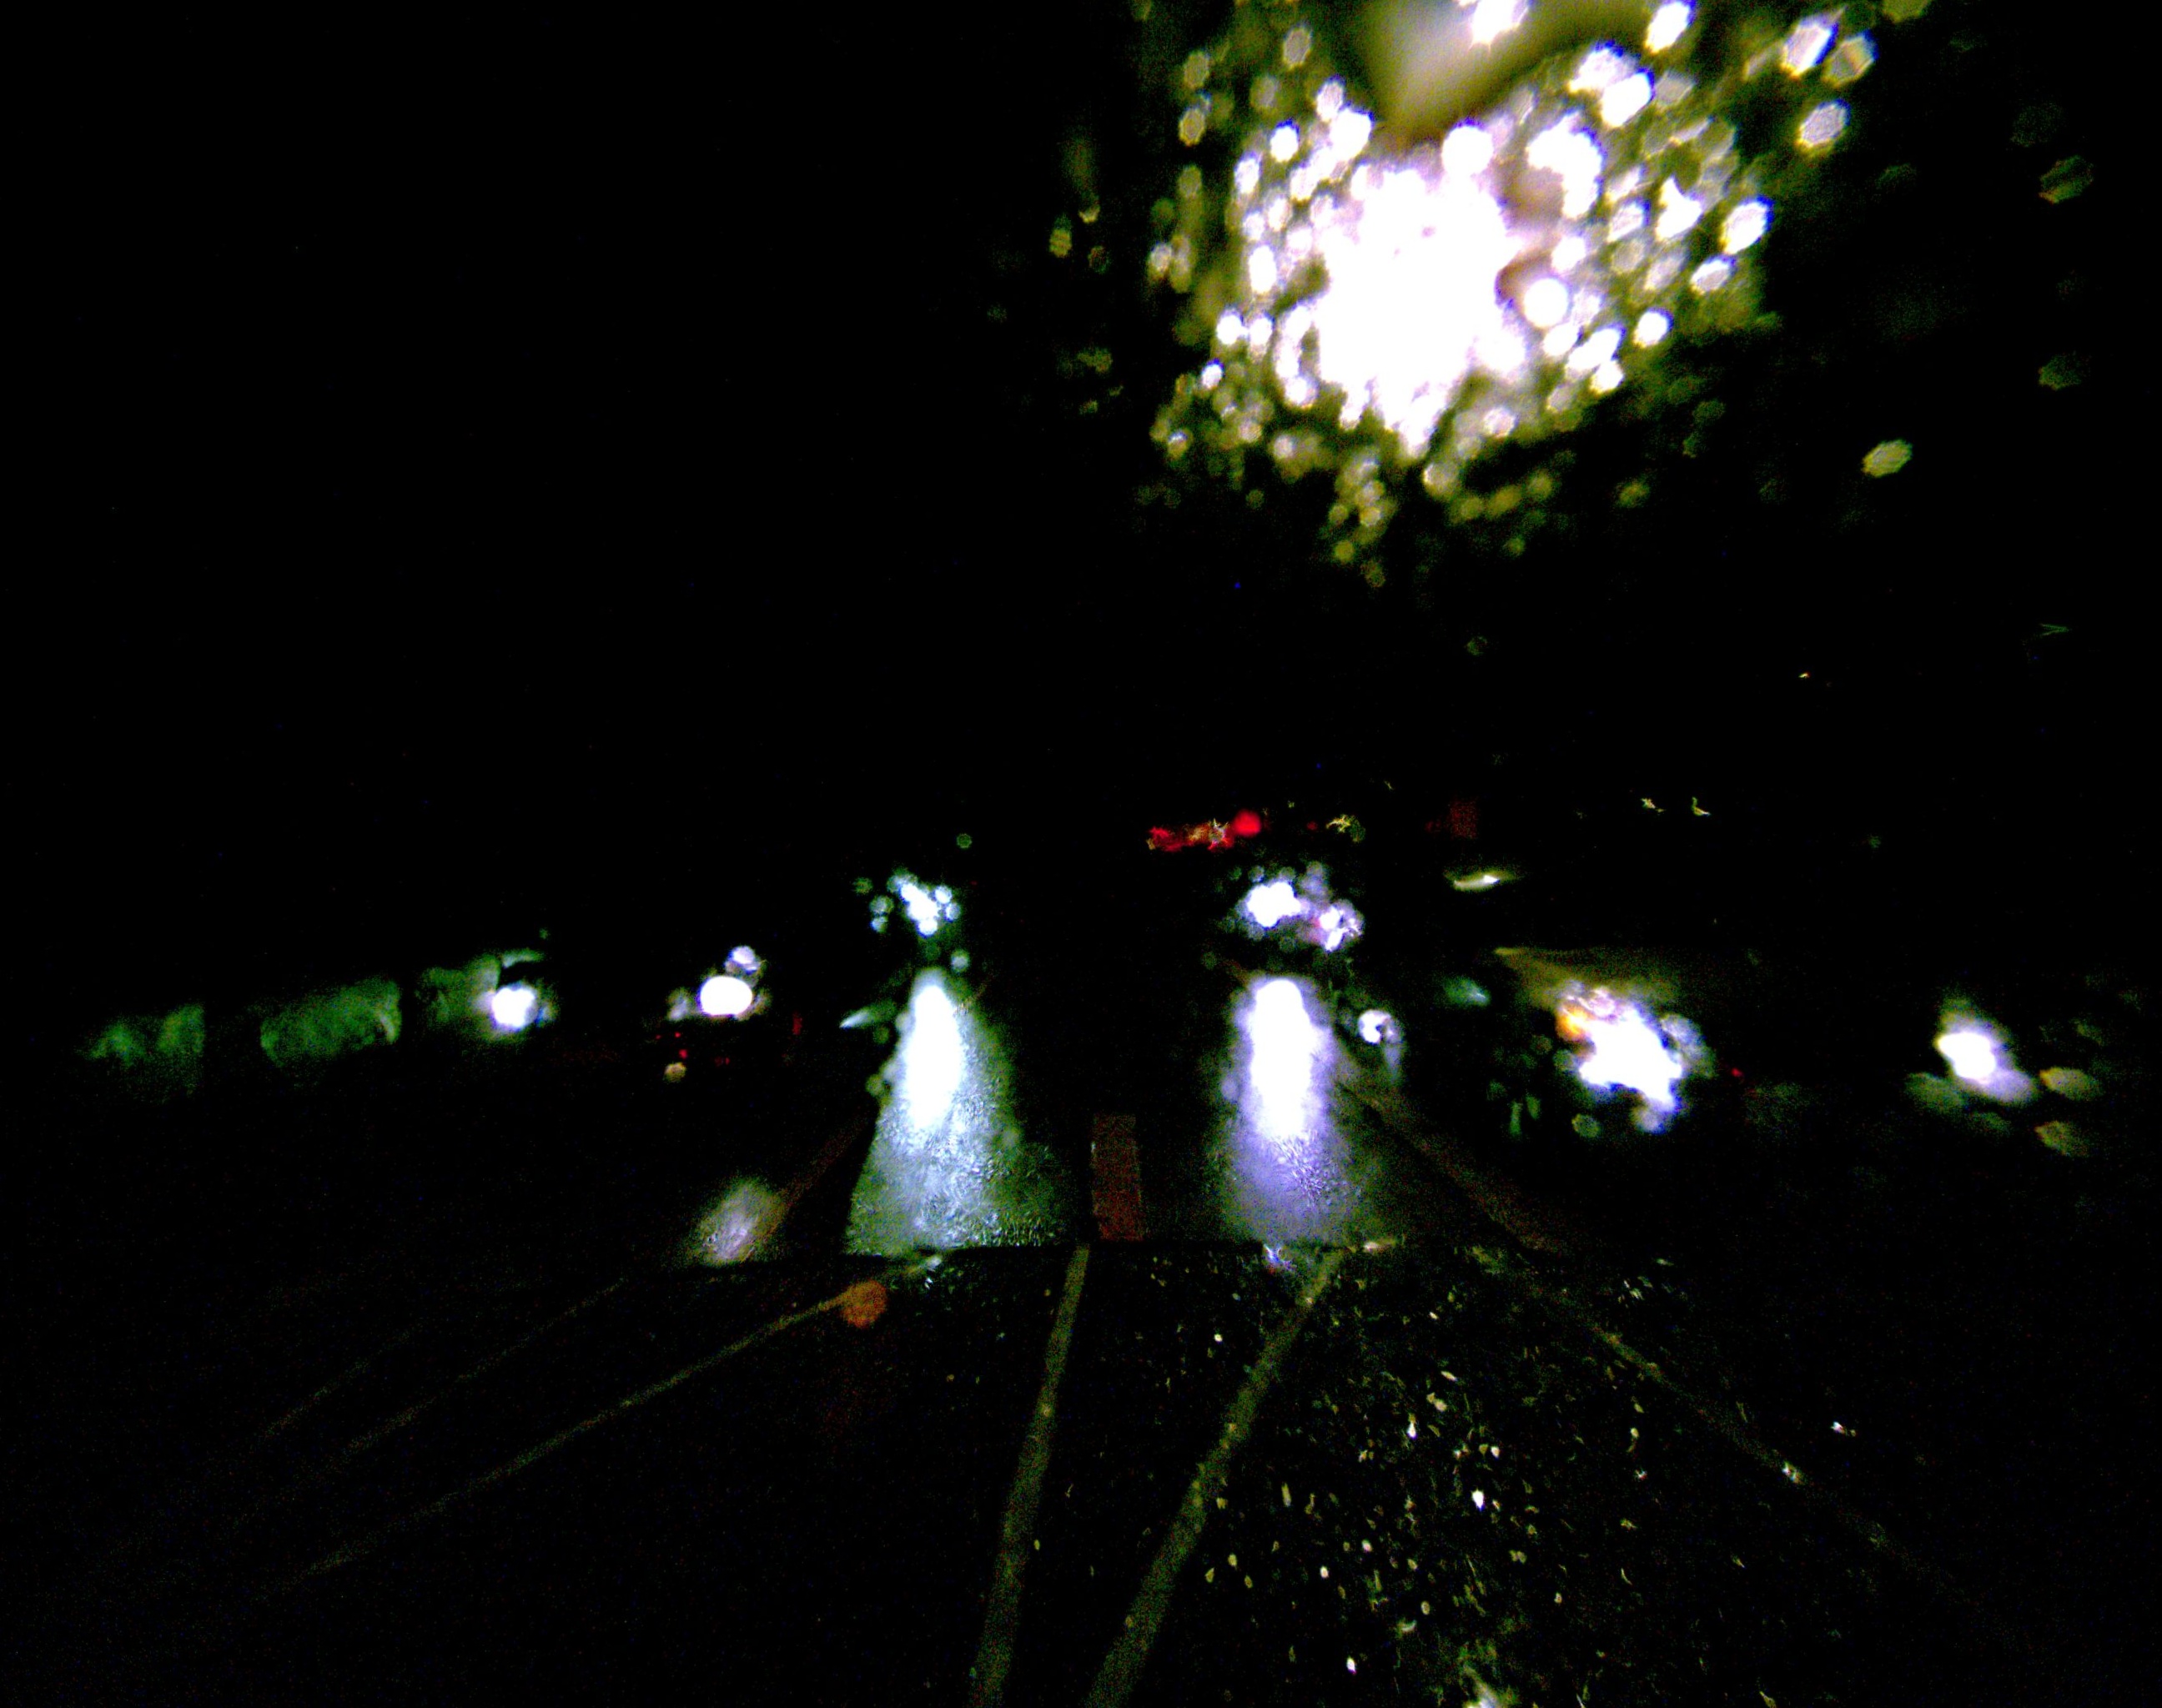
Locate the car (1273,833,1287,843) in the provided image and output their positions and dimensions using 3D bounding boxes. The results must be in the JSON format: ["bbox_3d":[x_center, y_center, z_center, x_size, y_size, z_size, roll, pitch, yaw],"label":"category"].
[{"bbox_3d":[38.068,-3.107,145.532,1.790,1.684,4.219,-4,0,4],"label":"car"}]

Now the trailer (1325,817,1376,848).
[{"bbox_3d":[45.654,-3.750,129.387,3.979,4.584,15.516,-6,1,5],"label":"trailer"}]

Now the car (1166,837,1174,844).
[{"bbox_3d":[24.737,-3.746,210.507,1.806,1.579,4.030,-3,1,3],"label":"car"}]

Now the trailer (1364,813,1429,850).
[{"bbox_3d":[44.296,-3.169,107.410,3.980,4.584,14.248,-6,1,5],"label":"trailer"}]

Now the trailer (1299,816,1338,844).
[{"bbox_3d":[48.356,-4.893,155.334,3.979,4.984,14.836,-6,1,5],"label":"trailer"}]

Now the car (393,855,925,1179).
[{"bbox_3d":[-2.753,0.910,6.263,1.790,1.684,4.219,-2,0,3],"label":"car"}]

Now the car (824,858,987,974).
[{"bbox_3d":[-2.954,0.960,13.840,1.788,1.638,4.436,-3,0,1],"label":"car"}]

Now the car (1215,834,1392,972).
[{"bbox_3d":[3.328,0.638,12.254,1.788,1.772,4.437,-2,0,4],"label":"car"}]

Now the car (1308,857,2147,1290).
[{"bbox_3d":[2.986,0.814,4.966,1.788,1.502,4.436,-1,1,2],"label":"car"}]

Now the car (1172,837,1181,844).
[{"bbox_3d":[23.512,-3.246,187.169,1.765,1.632,4.652,-3,1,2],"label":"car"}]

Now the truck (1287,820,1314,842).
[{"bbox_3d":[49.677,-5.157,172.416,3.446,4.584,10.213,-6,1,5],"label":"truck"}]
